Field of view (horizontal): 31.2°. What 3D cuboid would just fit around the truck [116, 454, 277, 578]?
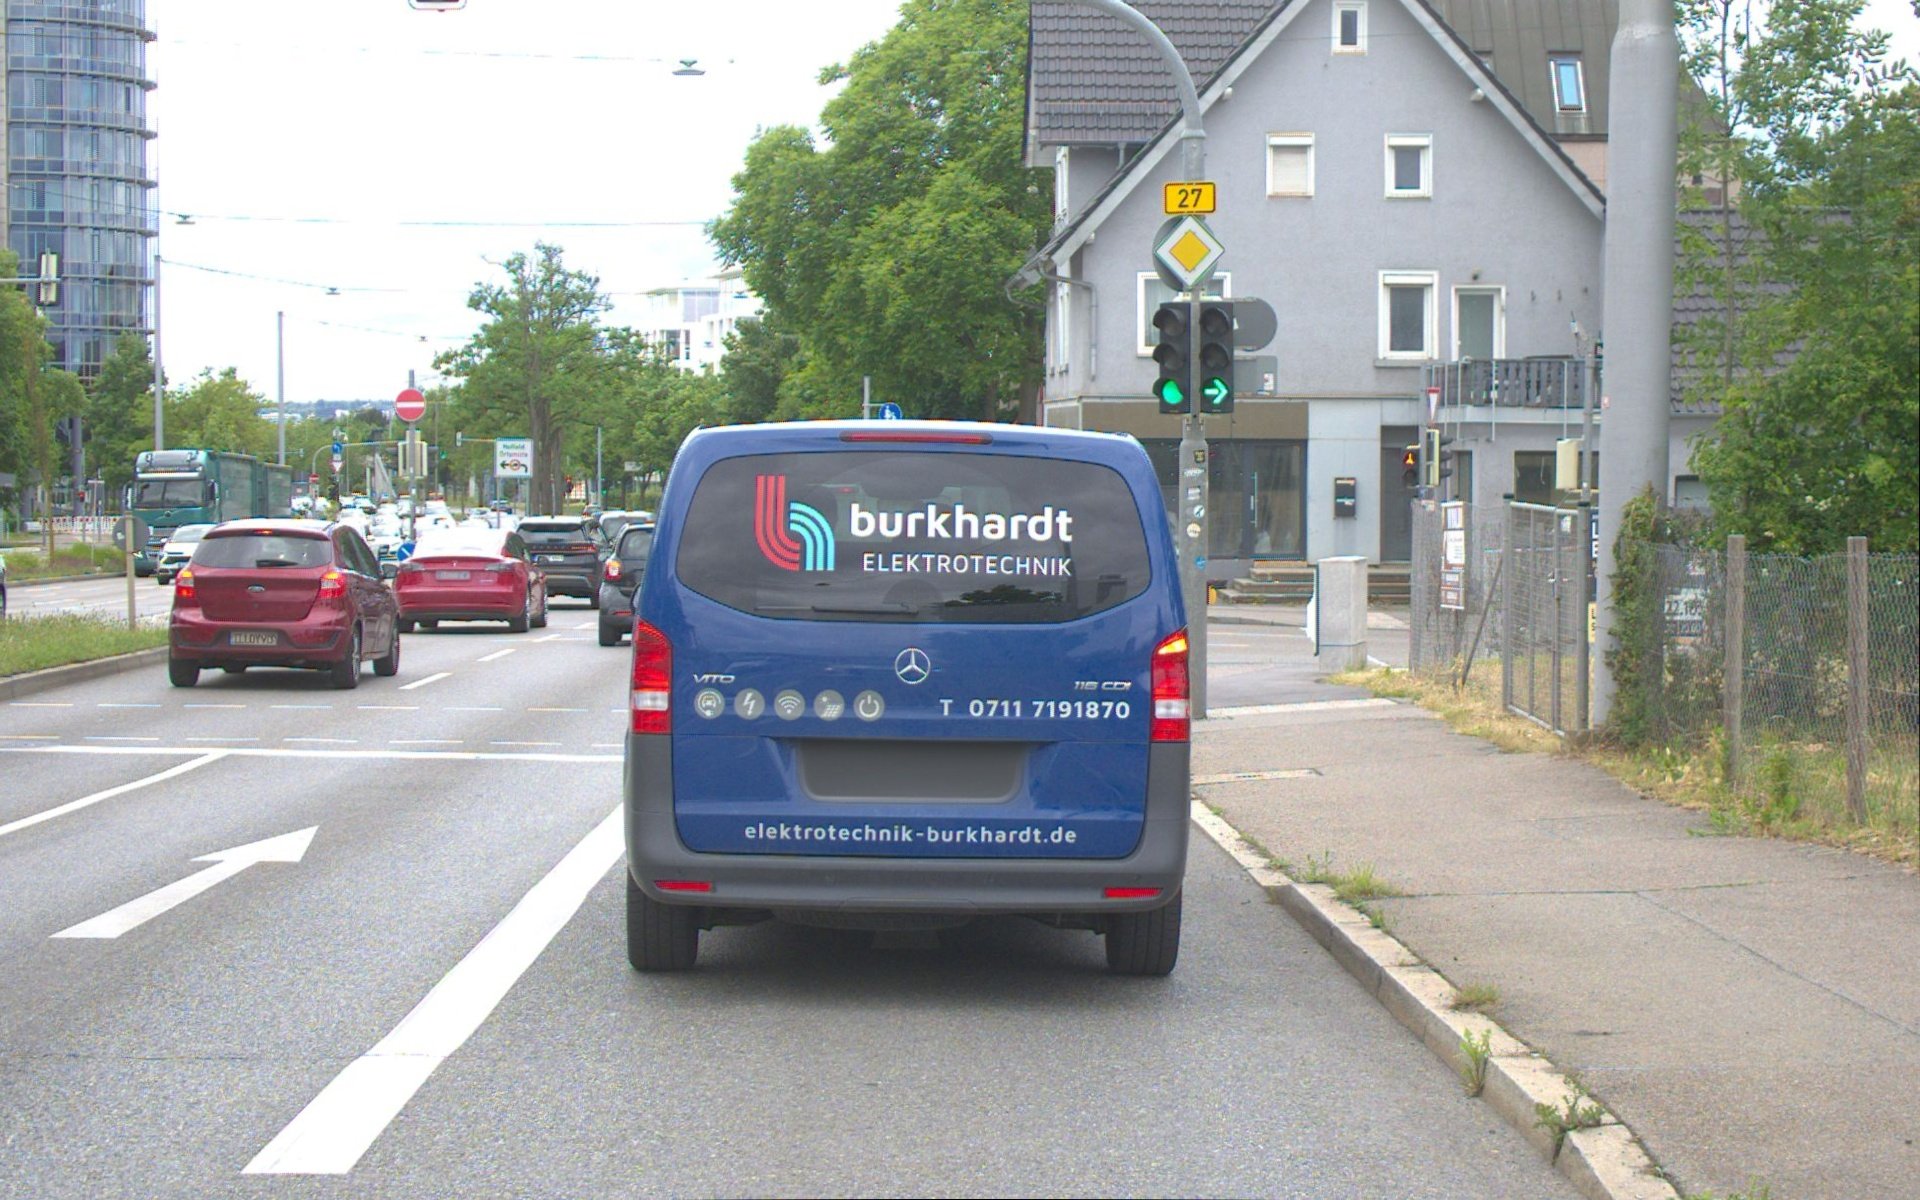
[{"bbox_3d":[-24.352,-2.652,110.186,3.367,3.714,11.282,1,1,-4],"label":"truck"}]

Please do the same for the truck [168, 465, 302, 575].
[{"bbox_3d":[-25.434,-2.791,120.974,3.367,3.714,8.028,0,1,-3],"label":"truck"}]

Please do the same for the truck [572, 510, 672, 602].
[{"bbox_3d":[-8.466,-1.124,86.419,1.993,2.158,5.560,2,1,-1],"label":"truck"}]

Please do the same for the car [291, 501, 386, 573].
[{"bbox_3d":[-17.708,-1.800,98.080,1.993,2.007,4.180,0,1,-1],"label":"car"}]

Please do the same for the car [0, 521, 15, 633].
[{"bbox_3d":[-14.315,-0.286,46.642,1.993,1.568,4.517,0,1,-4],"label":"car"}]

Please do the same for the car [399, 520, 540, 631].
[{"bbox_3d":[-6.886,-0.350,48.219,1.868,1.481,4.001,0,1,-8],"label":"car"}]

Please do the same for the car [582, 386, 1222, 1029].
[{"bbox_3d":[-0.186,0.291,12.897,1.948,1.959,4.542,1,1,0],"label":"car"}]

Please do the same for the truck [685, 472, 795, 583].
[{"bbox_3d":[-4.575,-1.525,72.238,1.993,2.158,5.560,2,1,-1],"label":"truck"}]

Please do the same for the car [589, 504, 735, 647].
[{"bbox_3d":[-3.733,-0.342,43.338,1.746,1.717,4.001,0,1,-4],"label":"car"}]

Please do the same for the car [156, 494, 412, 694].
[{"bbox_3d":[-6.278,-0.103,32.292,1.746,1.717,4.001,1,1,-3],"label":"car"}]

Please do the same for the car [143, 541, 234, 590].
[{"bbox_3d":[-20.891,-0.955,93.244,1.829,1.258,4.001,-1,1,-4],"label":"car"}]

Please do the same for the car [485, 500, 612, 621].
[{"bbox_3d":[-7.404,-0.736,61.580,1.993,2.006,4.002,1,2,-10],"label":"car"}]
